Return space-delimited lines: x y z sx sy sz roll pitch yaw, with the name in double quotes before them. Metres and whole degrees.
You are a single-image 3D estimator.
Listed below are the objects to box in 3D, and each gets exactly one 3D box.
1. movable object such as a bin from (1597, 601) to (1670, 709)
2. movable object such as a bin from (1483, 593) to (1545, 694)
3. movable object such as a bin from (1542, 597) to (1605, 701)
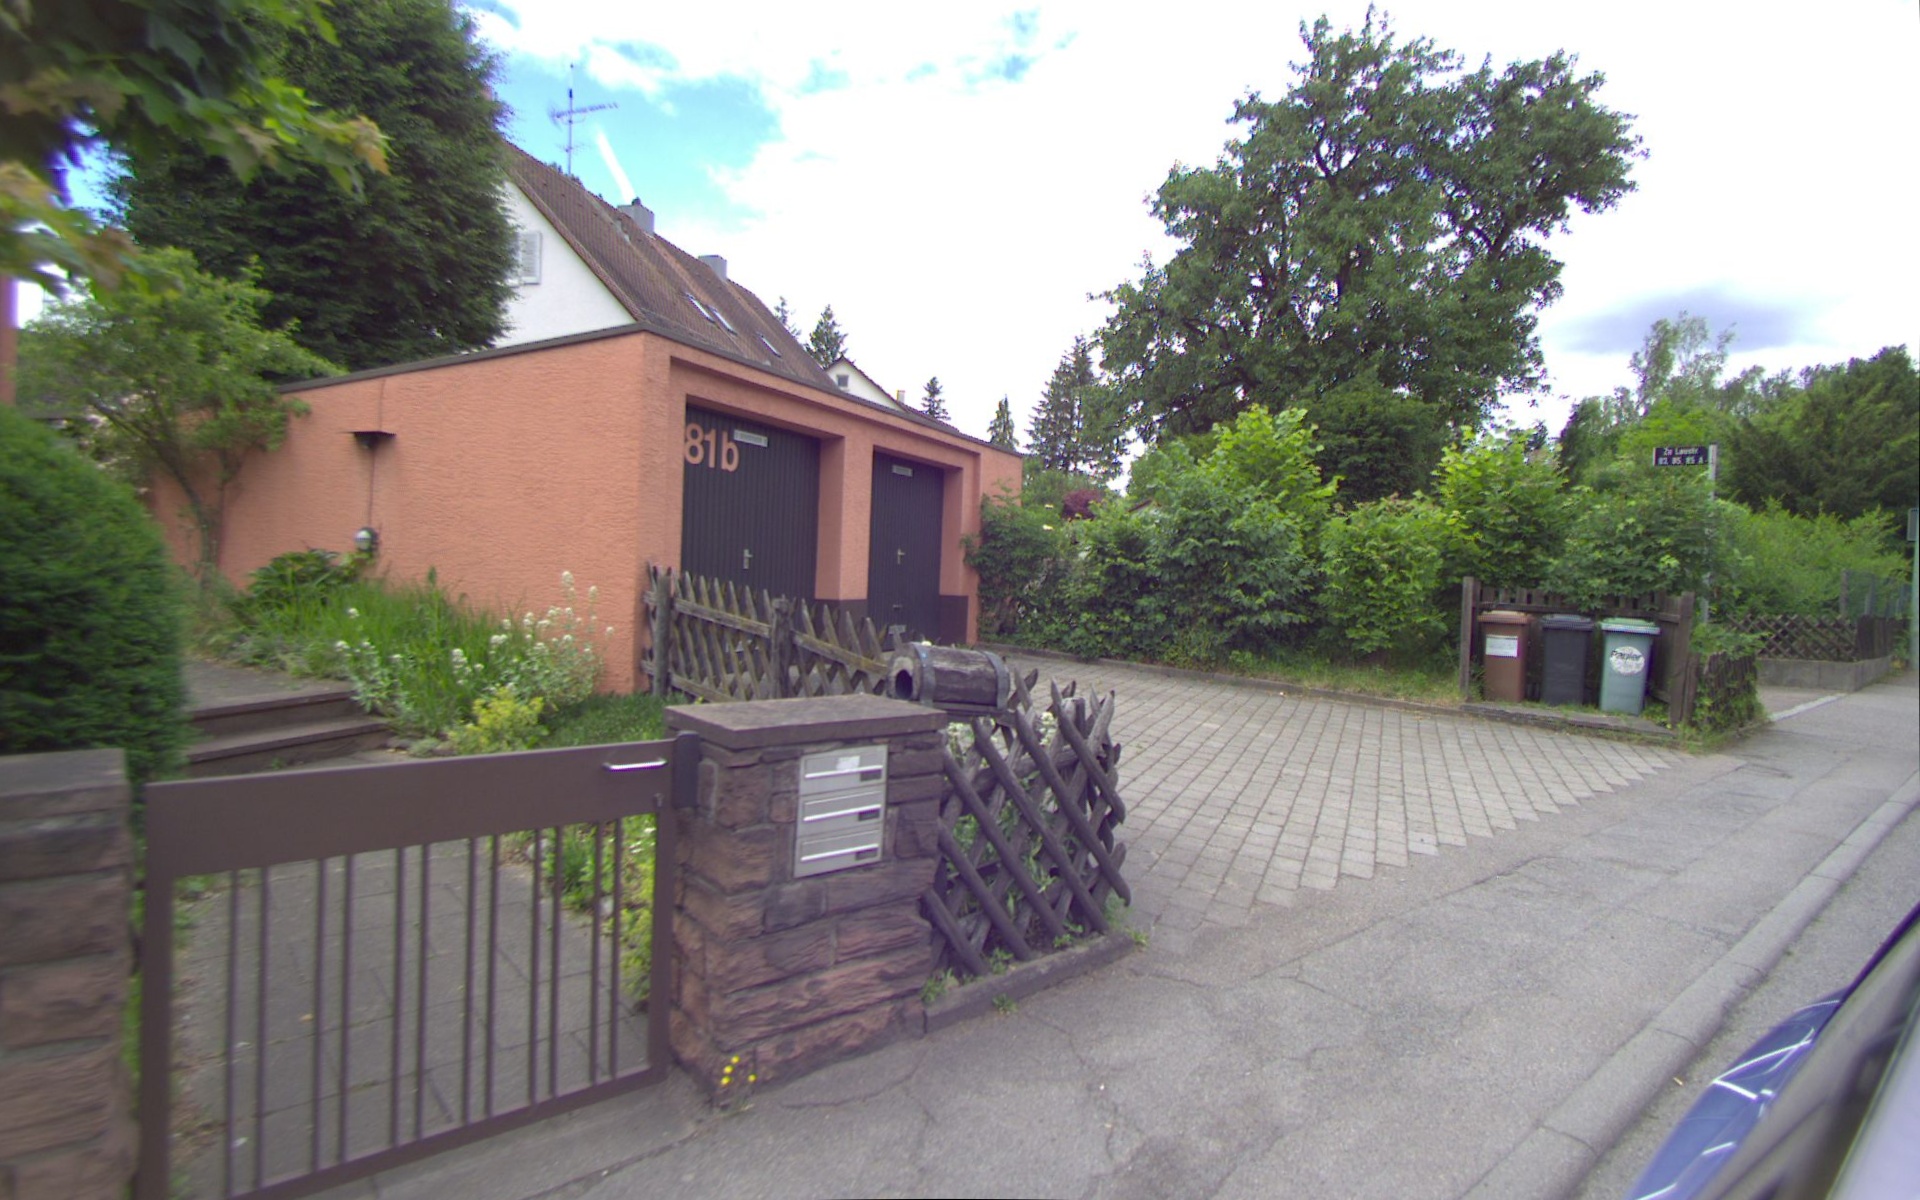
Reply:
"movable object such as a bin" 6.610 0.523 9.958 0.444 0.967 0.679 6 4 28
"movable object such as a bin" 5.762 0.436 10.510 0.445 0.967 0.678 6 4 32
"movable object such as a bin" 6.185 0.474 10.207 0.445 0.967 0.678 6 4 32
